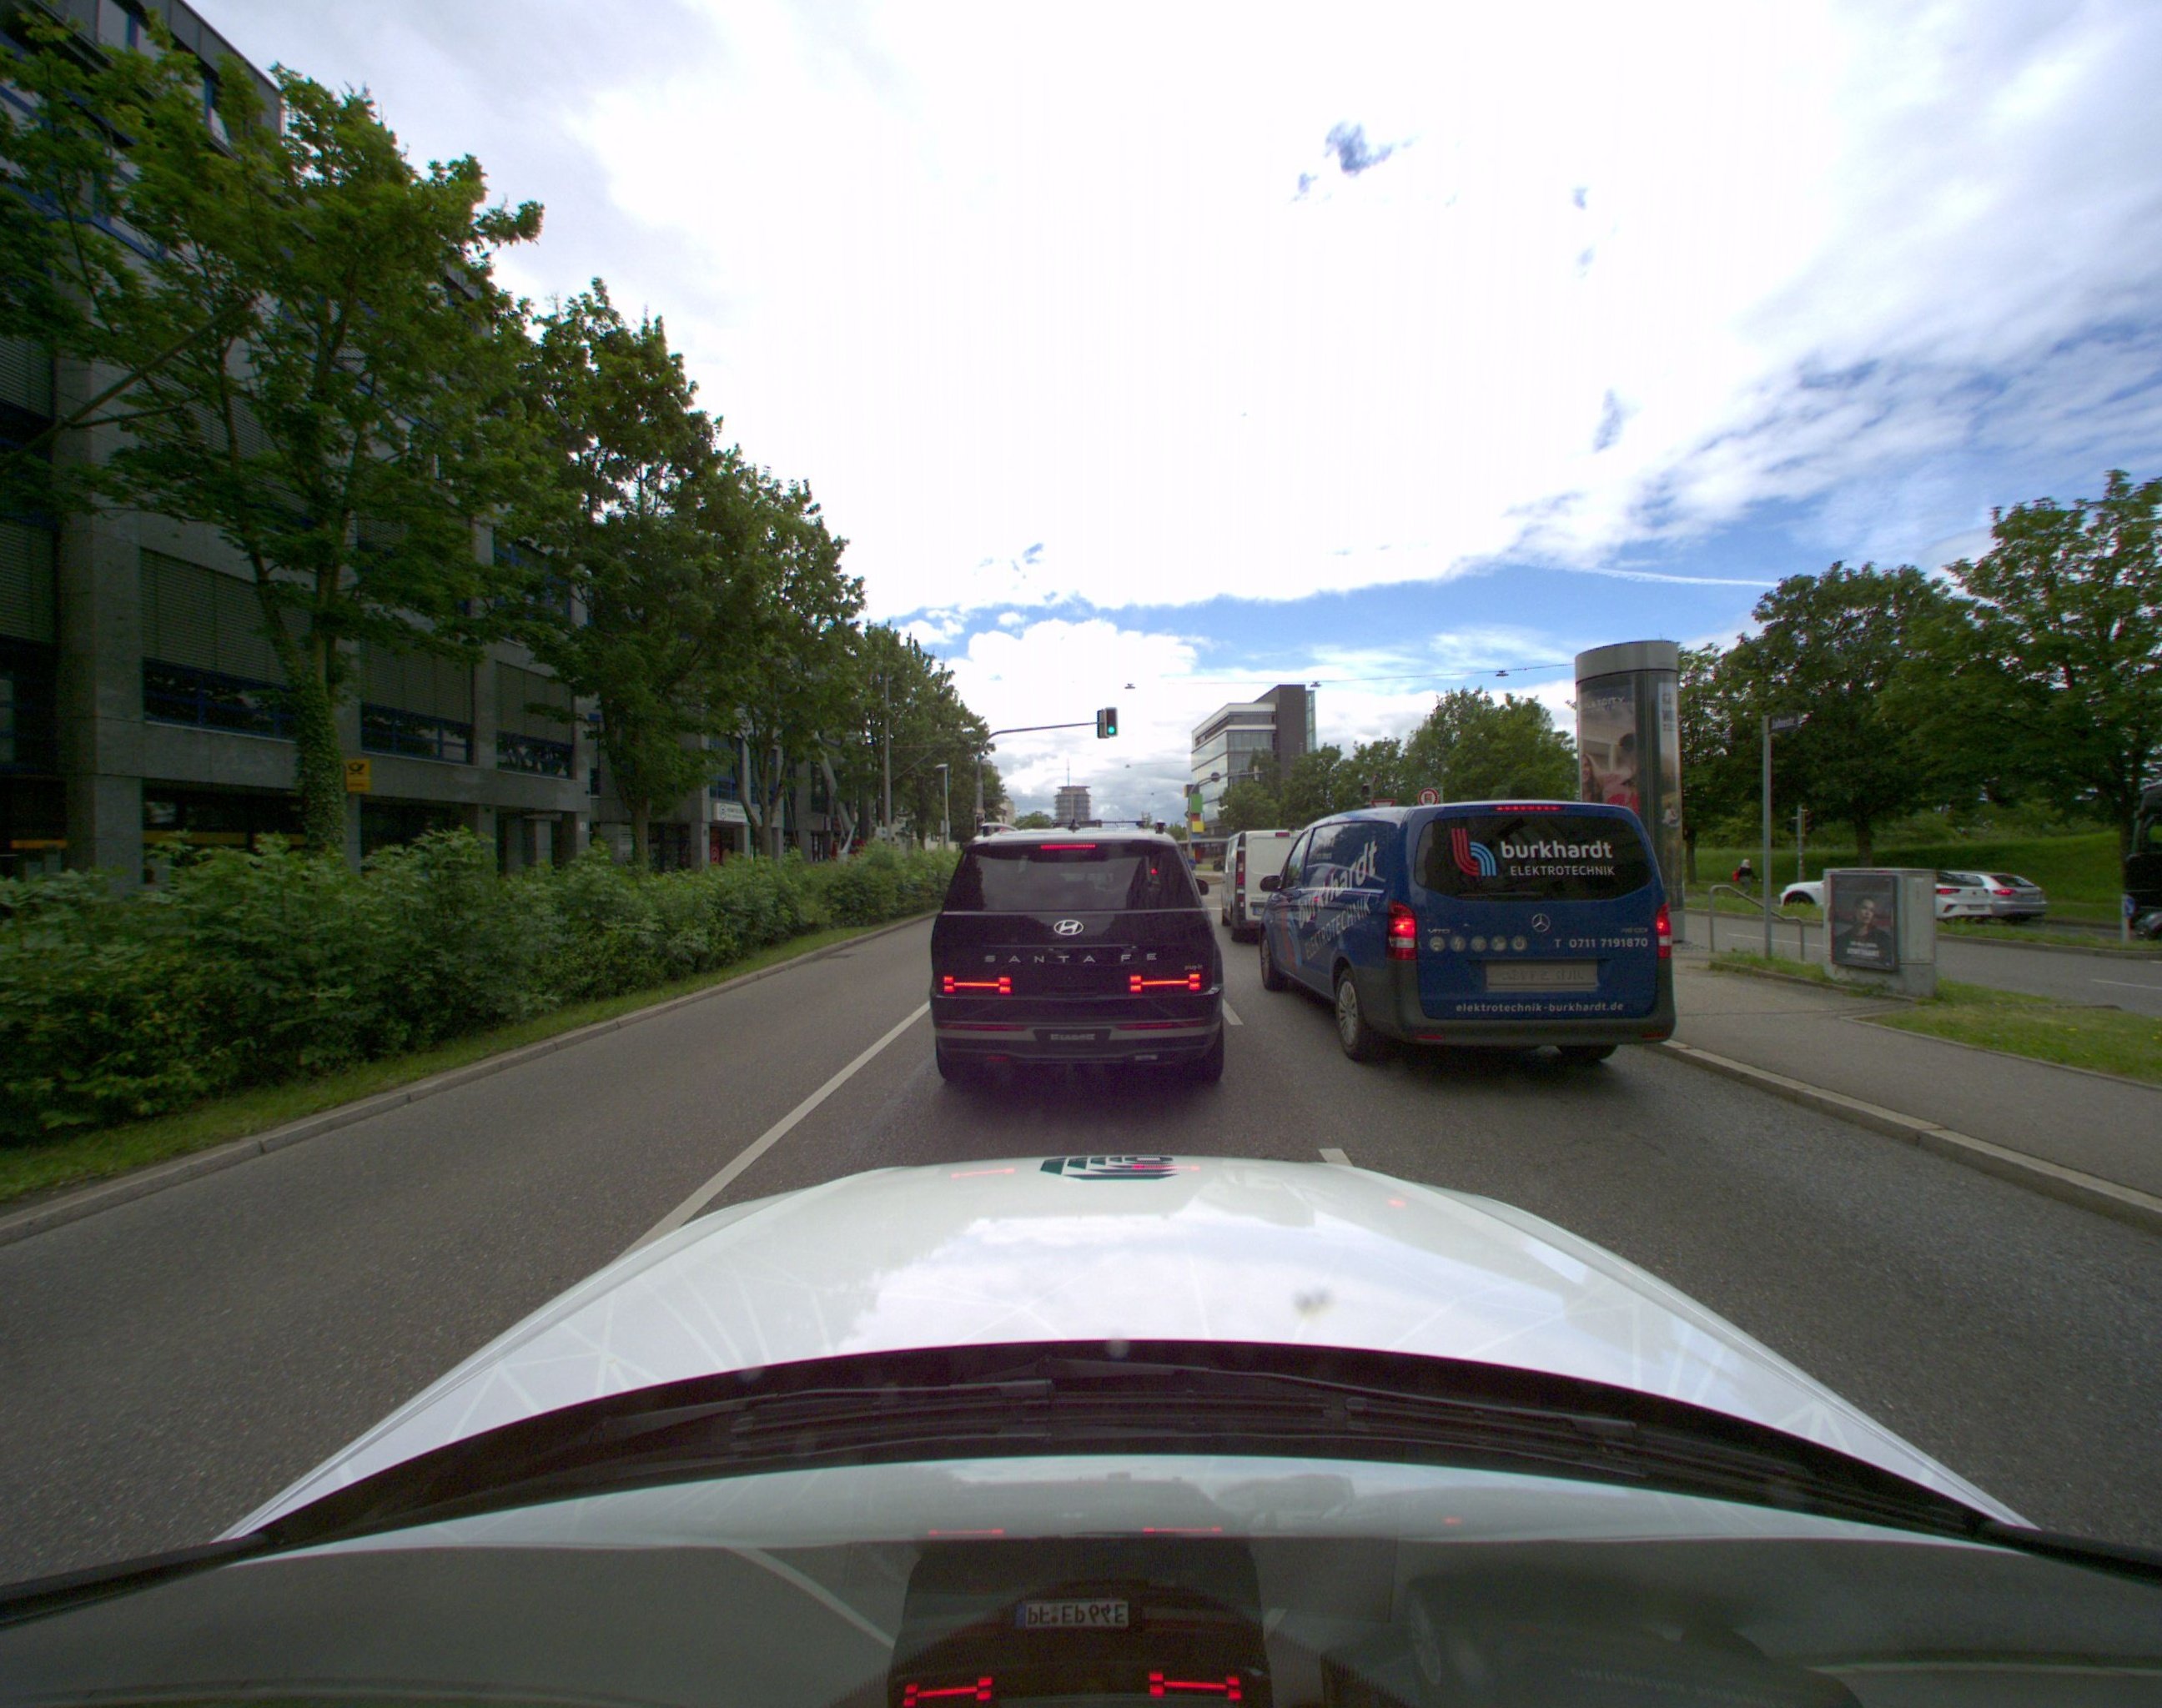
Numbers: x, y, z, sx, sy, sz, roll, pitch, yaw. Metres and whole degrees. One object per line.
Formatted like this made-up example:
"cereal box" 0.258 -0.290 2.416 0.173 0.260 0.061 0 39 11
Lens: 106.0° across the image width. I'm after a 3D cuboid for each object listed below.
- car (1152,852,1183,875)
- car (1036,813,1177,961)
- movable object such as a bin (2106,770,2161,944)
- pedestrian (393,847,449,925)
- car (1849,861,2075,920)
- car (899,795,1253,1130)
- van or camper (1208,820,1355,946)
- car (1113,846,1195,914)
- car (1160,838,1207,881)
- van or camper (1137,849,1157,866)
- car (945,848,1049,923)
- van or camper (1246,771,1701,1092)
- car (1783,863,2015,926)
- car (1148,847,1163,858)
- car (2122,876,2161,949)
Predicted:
"car" 6.393 0.721 60.662 1.986 1.618 4.001 -1 -1 2
"car" 0.414 0.463 13.278 1.908 2.003 3.881 -1 0 2
"movable object such as a bin" 26.250 0.002 15.149 2.860 3.903 8.536 -1 -1 -11
"pedestrian" -16.400 0.785 20.254 0.771 1.894 0.731 -1 -1 1
"car" 25.090 0.992 23.417 1.994 1.453 3.985 1 0 -11
"car" 0.037 0.587 6.321 1.862 1.760 3.881 -1 0 2
"van or camper" 3.589 0.467 15.436 1.984 2.013 4.658 -1 0 5
"car" 2.176 0.697 23.111 1.764 1.717 4.353 -1 -1 12
"car" 4.977 0.278 39.975 1.985 2.014 4.003 -1 -1 3
"van or camper" 10.264 0.487 126.858 1.979 2.547 6.603 -1 -1 14
"car" -1.958 0.726 20.307 1.839 1.581 4.120 -4 -1 3
"van or camper" 2.890 0.473 7.471 1.853 1.911 5.034 -1 0 2
"car" 21.757 1.013 21.919 1.994 1.453 3.985 1 0 -11
"car" 12.059 -0.227 131.420 1.987 1.684 3.998 -1 -1 -1
"car" 22.995 1.212 15.167 1.994 1.453 3.985 1 0 -11
